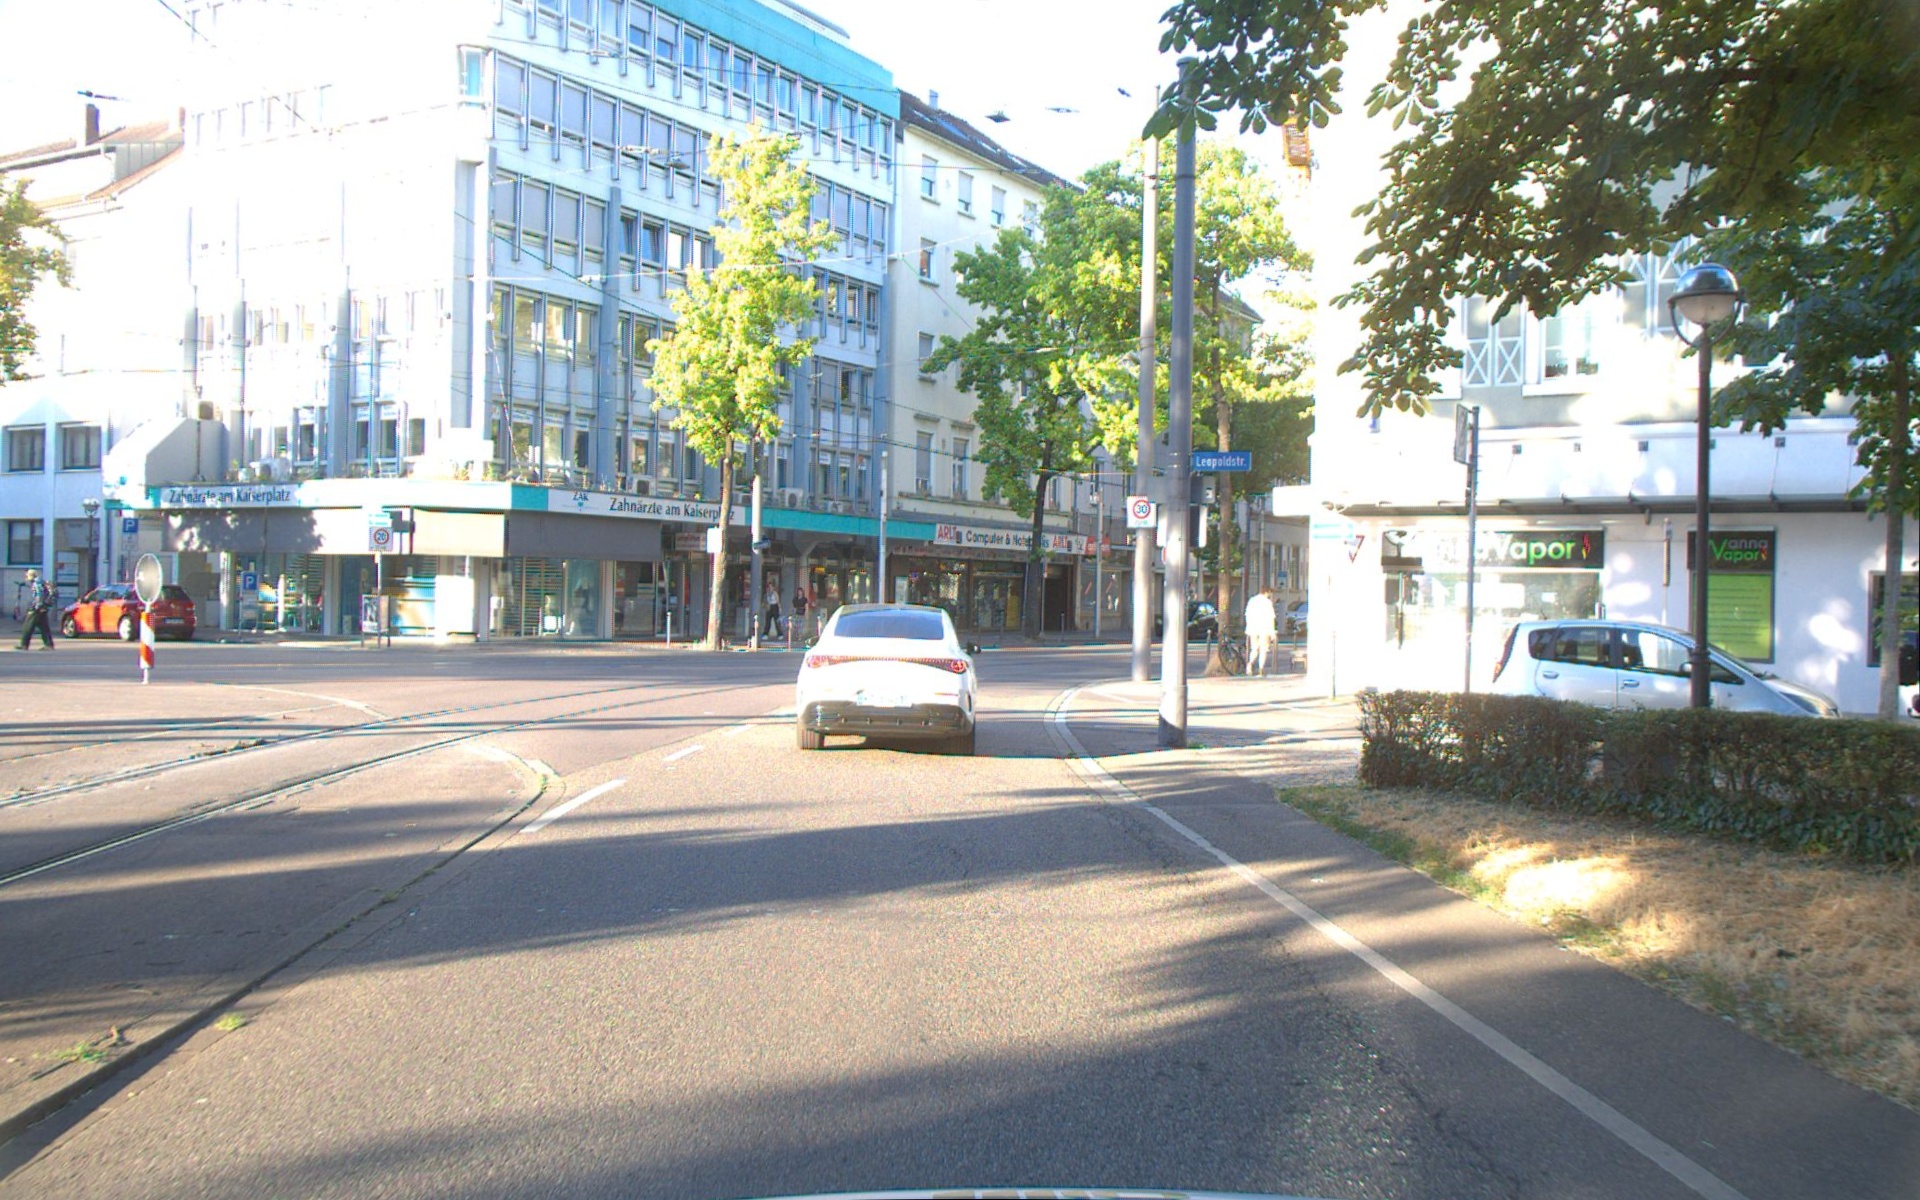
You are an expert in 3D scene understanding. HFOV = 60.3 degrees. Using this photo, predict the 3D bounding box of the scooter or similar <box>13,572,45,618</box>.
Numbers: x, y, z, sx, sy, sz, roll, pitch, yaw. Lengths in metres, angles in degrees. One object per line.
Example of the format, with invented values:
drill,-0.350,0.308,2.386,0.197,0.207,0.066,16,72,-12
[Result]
scooter or similar,-29.817,-0.163,52.973,0.746,1.422,1.906,2,0,-33

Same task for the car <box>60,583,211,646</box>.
car,-21.491,0.366,43.078,3.923,1.511,2.018,2,0,38

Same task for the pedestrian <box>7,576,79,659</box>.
pedestrian,-19.582,0.371,35.319,1.153,1.732,0.894,2,-1,-42

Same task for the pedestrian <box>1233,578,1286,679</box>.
pedestrian,6.228,0.579,34.367,0.824,2.049,0.845,1,-1,26

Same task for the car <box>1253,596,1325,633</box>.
car,16.538,0.746,83.080,1.927,1.668,4.800,5,2,32

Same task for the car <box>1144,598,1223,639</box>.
car,9.807,0.800,72.352,1.927,1.668,3.989,2,0,32

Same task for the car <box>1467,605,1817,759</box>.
car,7.831,0.874,19.031,3.500,1.540,1.735,1,0,31

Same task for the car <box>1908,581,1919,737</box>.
car,14.584,0.802,20.968,4.415,1.998,2.019,1,0,31

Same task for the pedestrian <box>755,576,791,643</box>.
pedestrian,-5.822,0.303,51.535,0.782,2.049,0.732,1,-1,33

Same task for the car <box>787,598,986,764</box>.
car,-0.676,0.764,17.629,1.830,1.494,4.042,2,0,0

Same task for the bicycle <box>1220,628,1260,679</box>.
bicycle,6.251,1.183,36.891,0.347,1.095,1.696,1,0,28

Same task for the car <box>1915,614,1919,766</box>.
car,12.099,0.962,16.351,4.572,1.540,1.735,1,0,31

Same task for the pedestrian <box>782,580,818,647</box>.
pedestrian,-4.951,0.419,51.278,0.782,2.049,0.732,1,-1,33
